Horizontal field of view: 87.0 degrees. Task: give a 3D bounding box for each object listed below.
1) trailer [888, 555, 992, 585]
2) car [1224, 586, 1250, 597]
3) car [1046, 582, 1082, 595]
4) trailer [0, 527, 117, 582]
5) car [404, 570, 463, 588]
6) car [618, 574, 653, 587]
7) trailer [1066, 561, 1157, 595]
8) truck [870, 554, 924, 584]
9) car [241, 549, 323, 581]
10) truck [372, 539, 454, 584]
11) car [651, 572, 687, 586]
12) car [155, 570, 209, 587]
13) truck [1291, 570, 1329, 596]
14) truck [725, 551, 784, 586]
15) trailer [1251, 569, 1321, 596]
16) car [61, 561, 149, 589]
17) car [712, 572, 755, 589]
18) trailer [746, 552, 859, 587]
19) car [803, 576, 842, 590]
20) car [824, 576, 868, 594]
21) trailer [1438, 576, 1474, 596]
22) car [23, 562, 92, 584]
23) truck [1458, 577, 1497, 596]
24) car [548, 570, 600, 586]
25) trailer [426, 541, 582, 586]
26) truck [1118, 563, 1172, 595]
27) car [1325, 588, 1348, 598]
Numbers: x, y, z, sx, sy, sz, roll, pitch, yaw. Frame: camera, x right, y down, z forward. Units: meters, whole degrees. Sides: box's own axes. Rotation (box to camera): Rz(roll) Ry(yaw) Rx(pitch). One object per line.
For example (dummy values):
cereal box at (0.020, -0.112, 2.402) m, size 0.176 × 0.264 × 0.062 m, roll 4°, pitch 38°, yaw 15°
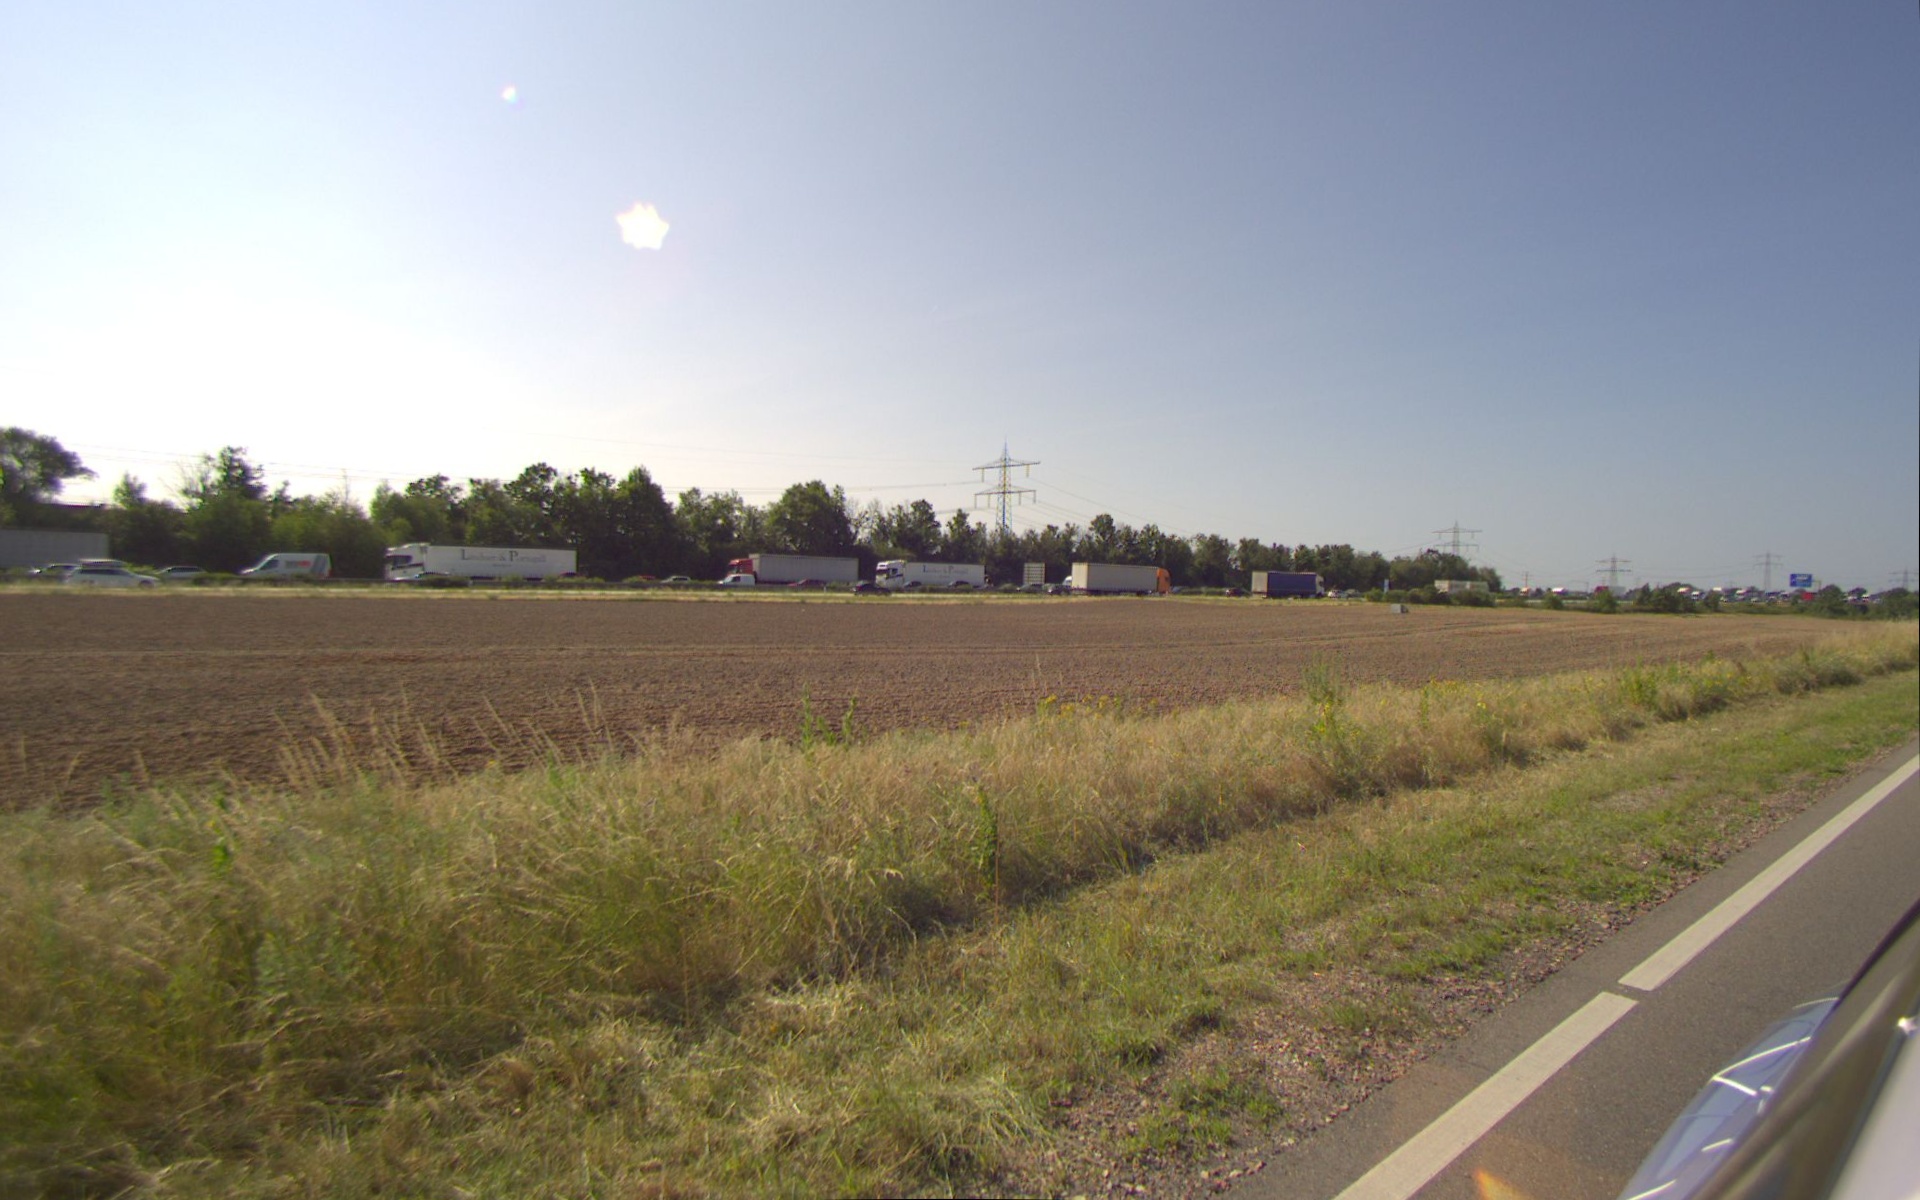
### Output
trailer at (-2.423, -3.832, 131.274) m, size 14.819 × 3.575 × 3.209 m, roll 0°, pitch 2°, yaw -41°
car at (41.099, -1.192, 150.251) m, size 3.825 × 1.595 × 1.997 m, roll 0°, pitch -1°, yaw -40°
car at (12.936, -1.425, 125.438) m, size 4.392 × 1.633 × 1.910 m, roll 0°, pitch -1°, yaw -39°
trailer at (-69.657, -3.327, 73.037) m, size 13.384 × 3.780 × 3.079 m, roll 0°, pitch 1°, yaw -39°
car at (-45.324, -1.780, 87.157) m, size 4.173 × 1.403 × 1.854 m, roll 1°, pitch -1°, yaw -41°
car at (-33.664, -1.988, 105.051) m, size 3.235 × 1.234 × 1.342 m, roll 0°, pitch -1°, yaw -42°
trailer at (19.037, -2.685, 125.980) m, size 13.475 × 3.897 × 3.109 m, roll 0°, pitch 0°, yaw -40°
truck at (-7.834, -3.856, 126.528) m, size 6.002 × 3.575 × 3.209 m, roll 0°, pitch 2°, yaw -41°
car at (-53.131, -2.713, 79.352) m, size 5.145 × 2.228 × 1.908 m, roll 1°, pitch -1°, yaw -41°
truck at (-49.111, -3.377, 90.867) m, size 6.008 × 3.780 × 3.078 m, roll 0°, pitch 1°, yaw -40°
car at (-28.908, -2.101, 100.573) m, size 3.236 × 1.300 × 1.342 m, roll 0°, pitch -1°, yaw -43°
car at (-57.636, -1.602, 75.000) m, size 3.125 × 1.166 × 1.397 m, roll 1°, pitch -1°, yaw -41°
truck at (53.429, -2.547, 154.444) m, size 5.515 × 3.850 × 3.076 m, roll 0°, pitch 0°, yaw -42°
truck at (-23.053, -3.456, 113.441) m, size 5.766 × 3.780 × 2.951 m, roll 0°, pitch 0°, yaw -41°
trailer at (48.431, -2.555, 149.905) m, size 14.341 × 3.850 × 3.076 m, roll 0°, pitch 0°, yaw -42°
car at (-53.336, -1.554, 63.243) m, size 4.122 × 1.563 × 1.706 m, roll 1°, pitch -1°, yaw -41°
car at (-23.461, -2.025, 105.029) m, size 4.023 × 1.659 × 1.705 m, roll 0°, pitch -1°, yaw -41°
trailer at (-18.127, -3.452, 117.720) m, size 13.539 × 3.780 × 2.951 m, roll 0°, pitch 1°, yaw -41°
car at (-15.185, -1.889, 112.071) m, size 4.022 × 1.528 × 1.706 m, roll 0°, pitch 0°, yaw -41°
car at (-11.152, -1.460, 99.190) m, size 4.122 × 1.563 × 1.706 m, roll 1°, pitch -1°, yaw -41°
trailer at (91.521, -2.526, 186.669) m, size 8.566 × 3.458 × 2.798 m, roll 0°, pitch 1°, yaw -41°
car at (-62.963, -1.895, 70.677) m, size 3.539 × 1.403 × 1.494 m, roll 1°, pitch -1°, yaw -41°
truck at (98.824, -2.506, 193.116) m, size 10.926 × 3.521 × 2.811 m, roll 0°, pitch 1°, yaw -41°
car at (-36.312, -2.035, 95.209) m, size 4.173 × 1.403 × 1.854 m, roll 1°, pitch -1°, yaw -41°
trailer at (-42.995, -3.359, 95.990) m, size 13.127 × 3.780 × 3.078 m, roll 0°, pitch 1°, yaw -40°
truck at (23.801, -2.661, 130.051) m, size 6.827 × 3.897 × 3.109 m, roll 0°, pitch 0°, yaw -40°
car at (62.948, -1.143, 169.225) m, size 4.125 × 1.595 × 1.688 m, roll 0°, pitch -1°, yaw -40°
